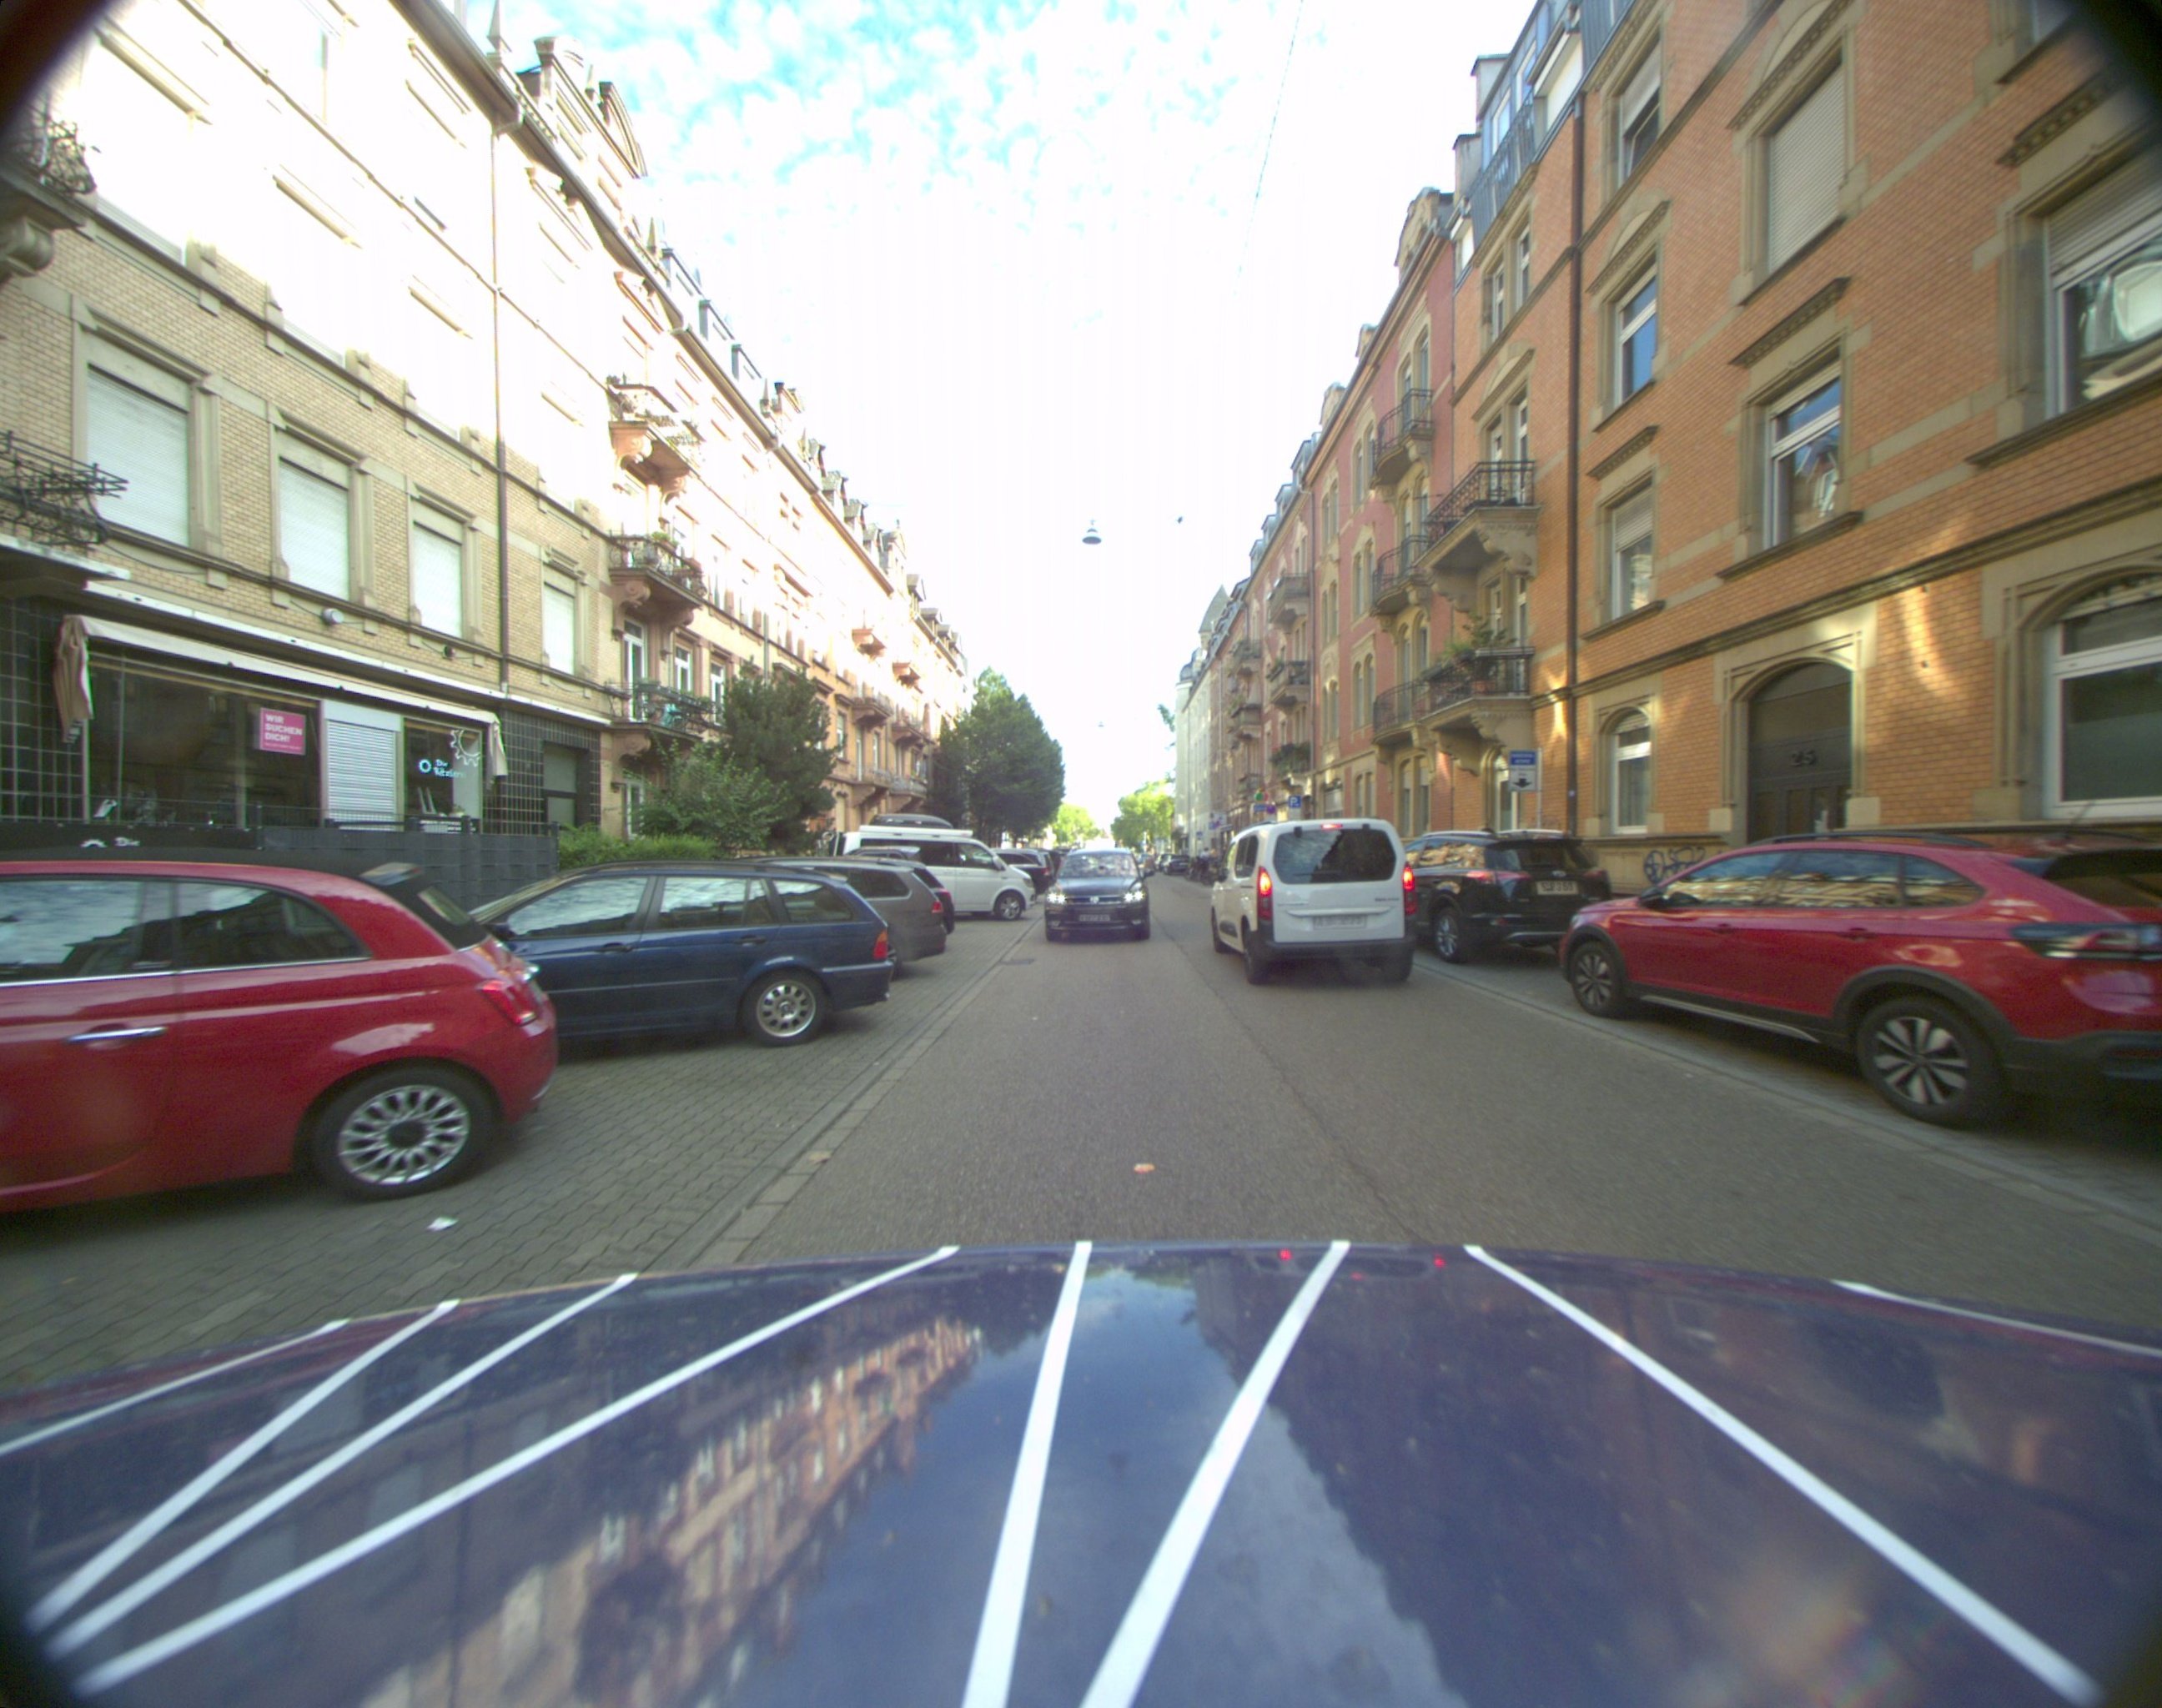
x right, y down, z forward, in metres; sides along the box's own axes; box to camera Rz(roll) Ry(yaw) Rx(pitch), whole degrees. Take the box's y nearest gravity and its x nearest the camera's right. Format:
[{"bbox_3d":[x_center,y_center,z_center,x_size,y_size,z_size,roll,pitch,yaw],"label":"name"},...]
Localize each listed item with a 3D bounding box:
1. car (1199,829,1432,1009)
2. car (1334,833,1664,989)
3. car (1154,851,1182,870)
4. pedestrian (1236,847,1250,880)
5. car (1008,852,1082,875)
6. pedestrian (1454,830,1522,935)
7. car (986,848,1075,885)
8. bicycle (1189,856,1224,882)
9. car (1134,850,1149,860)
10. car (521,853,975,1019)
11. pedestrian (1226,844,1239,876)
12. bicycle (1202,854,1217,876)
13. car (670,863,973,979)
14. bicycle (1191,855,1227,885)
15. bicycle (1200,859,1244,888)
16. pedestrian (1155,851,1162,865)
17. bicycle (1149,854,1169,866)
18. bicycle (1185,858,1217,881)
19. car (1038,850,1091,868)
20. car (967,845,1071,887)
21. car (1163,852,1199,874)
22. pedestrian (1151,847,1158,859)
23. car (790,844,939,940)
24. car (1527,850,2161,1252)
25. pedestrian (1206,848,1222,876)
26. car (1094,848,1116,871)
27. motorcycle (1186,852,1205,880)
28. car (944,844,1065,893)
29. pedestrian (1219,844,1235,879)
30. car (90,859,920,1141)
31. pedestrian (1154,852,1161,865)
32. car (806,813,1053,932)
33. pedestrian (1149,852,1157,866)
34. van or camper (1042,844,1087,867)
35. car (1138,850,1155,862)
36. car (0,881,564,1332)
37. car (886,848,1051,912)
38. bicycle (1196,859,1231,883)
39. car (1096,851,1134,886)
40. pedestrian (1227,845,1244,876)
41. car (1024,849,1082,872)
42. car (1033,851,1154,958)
[{"bbox_3d":[2.760,0.663,10.050,1.922,1.817,4.439,-1,0,4],"label":"car"},{"bbox_3d":[5.437,0.646,10.829,1.878,1.671,4.894,-1,0,-2],"label":"car"},{"bbox_3d":[6.926,0.501,60.715,1.674,1.407,4.011,-1,0,-2],"label":"car"},{"bbox_3d":[8.090,0.481,37.877,0.554,1.607,0.584,-1,1,2],"label":"pedestrian"},{"bbox_3d":[-2.404,0.637,51.140,4.620,1.443,1.788,1,0,-30],"label":"car"},{"bbox_3d":[7.228,0.486,13.534,0.758,1.797,0.863,-2,1,6],"label":"pedestrian"},{"bbox_3d":[-2.508,0.621,37.745,4.006,1.731,1.835,1,0,-29],"label":"car"},{"bbox_3d":[6.218,0.740,37.546,1.794,1.193,0.589,-2,1,-34],"label":"bicycle"},{"bbox_3d":[8.692,0.156,109.535,1.911,1.412,4.000,-1,0,2],"label":"car"},{"bbox_3d":[-3.695,0.823,8.860,4.479,1.468,1.884,3,-1,-37],"label":"car"},{"bbox_3d":[8.333,0.317,41.782,0.605,1.741,0.726,-1,1,12],"label":"pedestrian"},{"bbox_3d":[6.734,0.569,39.824,0.579,1.084,1.740,-1,0,15],"label":"bicycle"},{"bbox_3d":[-3.845,0.888,11.603,4.003,1.451,1.746,1,0,-39],"label":"car"},{"bbox_3d":[5.826,0.723,34.444,1.680,1.314,0.526,-2,1,-34],"label":"bicycle"},{"bbox_3d":[6.026,0.810,32.280,0.806,1.152,2.274,-1,1,39],"label":"bicycle"},{"bbox_3d":[7.637,0.428,74.633,0.689,1.365,0.739,-1,1,6],"label":"pedestrian"},{"bbox_3d":[7.564,0.566,73.509,1.872,1.168,0.688,-1,1,4],"label":"bicycle"},{"bbox_3d":[6.022,0.780,38.169,1.573,1.114,0.589,-2,1,-34],"label":"bicycle"},{"bbox_3d":[-1.607,0.493,73.675,4.816,1.535,1.866,1,1,-30],"label":"car"},{"bbox_3d":[-2.860,0.553,35.106,4.411,1.812,1.751,1,1,-30],"label":"car"},{"bbox_3d":[6.617,0.587,50.856,1.816,1.343,5.115,-1,0,1],"label":"car"},{"bbox_3d":[10.495,-0.176,108.780,0.845,1.699,0.879,-1,1,2],"label":"pedestrian"},{"bbox_3d":[-4.085,0.725,14.312,2.472,1.656,1.344,3,-1,-24],"label":"car"},{"bbox_3d":[5.257,0.758,5.096,1.998,1.536,4.426,0,1,1],"label":"car"},{"bbox_3d":[8.641,0.497,49.461,0.761,1.808,0.667,-1,1,32],"label":"pedestrian"},{"bbox_3d":[2.188,0.462,67.774,1.810,1.914,4.001,-2,0,3],"label":"car"},{"bbox_3d":[6.057,0.617,40.067,0.708,1.376,2.026,-1,0,17],"label":"motorcycle"},{"bbox_3d":[-3.034,0.597,30.961,4.648,1.774,1.810,2,-1,1],"label":"car"},{"bbox_3d":[7.992,0.421,41.671,0.646,1.881,0.602,-1,1,32],"label":"pedestrian"},{"bbox_3d":[-3.758,0.839,5.957,4.477,1.455,1.875,2,-1,-32],"label":"car"},{"bbox_3d":[7.676,0.435,76.008,0.668,1.328,0.740,-1,1,9],"label":"pedestrian"},{"bbox_3d":[-3.382,0.377,17.377,5.169,2.391,1.913,0,1,-31],"label":"car"},{"bbox_3d":[7.108,0.478,75.230,0.738,1.341,0.644,-1,1,5],"label":"pedestrian"},{"bbox_3d":[-1.608,0.181,76.234,4.006,2.166,1.995,-2,1,-28],"label":"van or camper"},{"bbox_3d":[8.360,0.235,97.139,1.828,1.477,4.170,-1,0,2],"label":"car"},{"bbox_3d":[-4.403,0.874,3.098,3.727,1.476,1.736,1,0,-36],"label":"car"},{"bbox_3d":[-3.352,0.718,22.919,4.465,1.722,1.995,-1,0,-33],"label":"car"},{"bbox_3d":[6.433,0.805,36.951,1.741,1.114,0.554,-2,1,-34],"label":"bicycle"},{"bbox_3d":[1.776,0.710,39.427,1.810,1.622,4.001,-2,0,3],"label":"car"},{"bbox_3d":[8.777,0.376,43.141,0.688,1.749,0.667,-1,1,32],"label":"pedestrian"},{"bbox_3d":[-2.130,0.513,57.413,4.007,1.689,1.848,0,0,-33],"label":"car"},{"bbox_3d":[0.408,0.798,14.233,1.873,1.644,4.388,-1,0,6],"label":"car"}]
